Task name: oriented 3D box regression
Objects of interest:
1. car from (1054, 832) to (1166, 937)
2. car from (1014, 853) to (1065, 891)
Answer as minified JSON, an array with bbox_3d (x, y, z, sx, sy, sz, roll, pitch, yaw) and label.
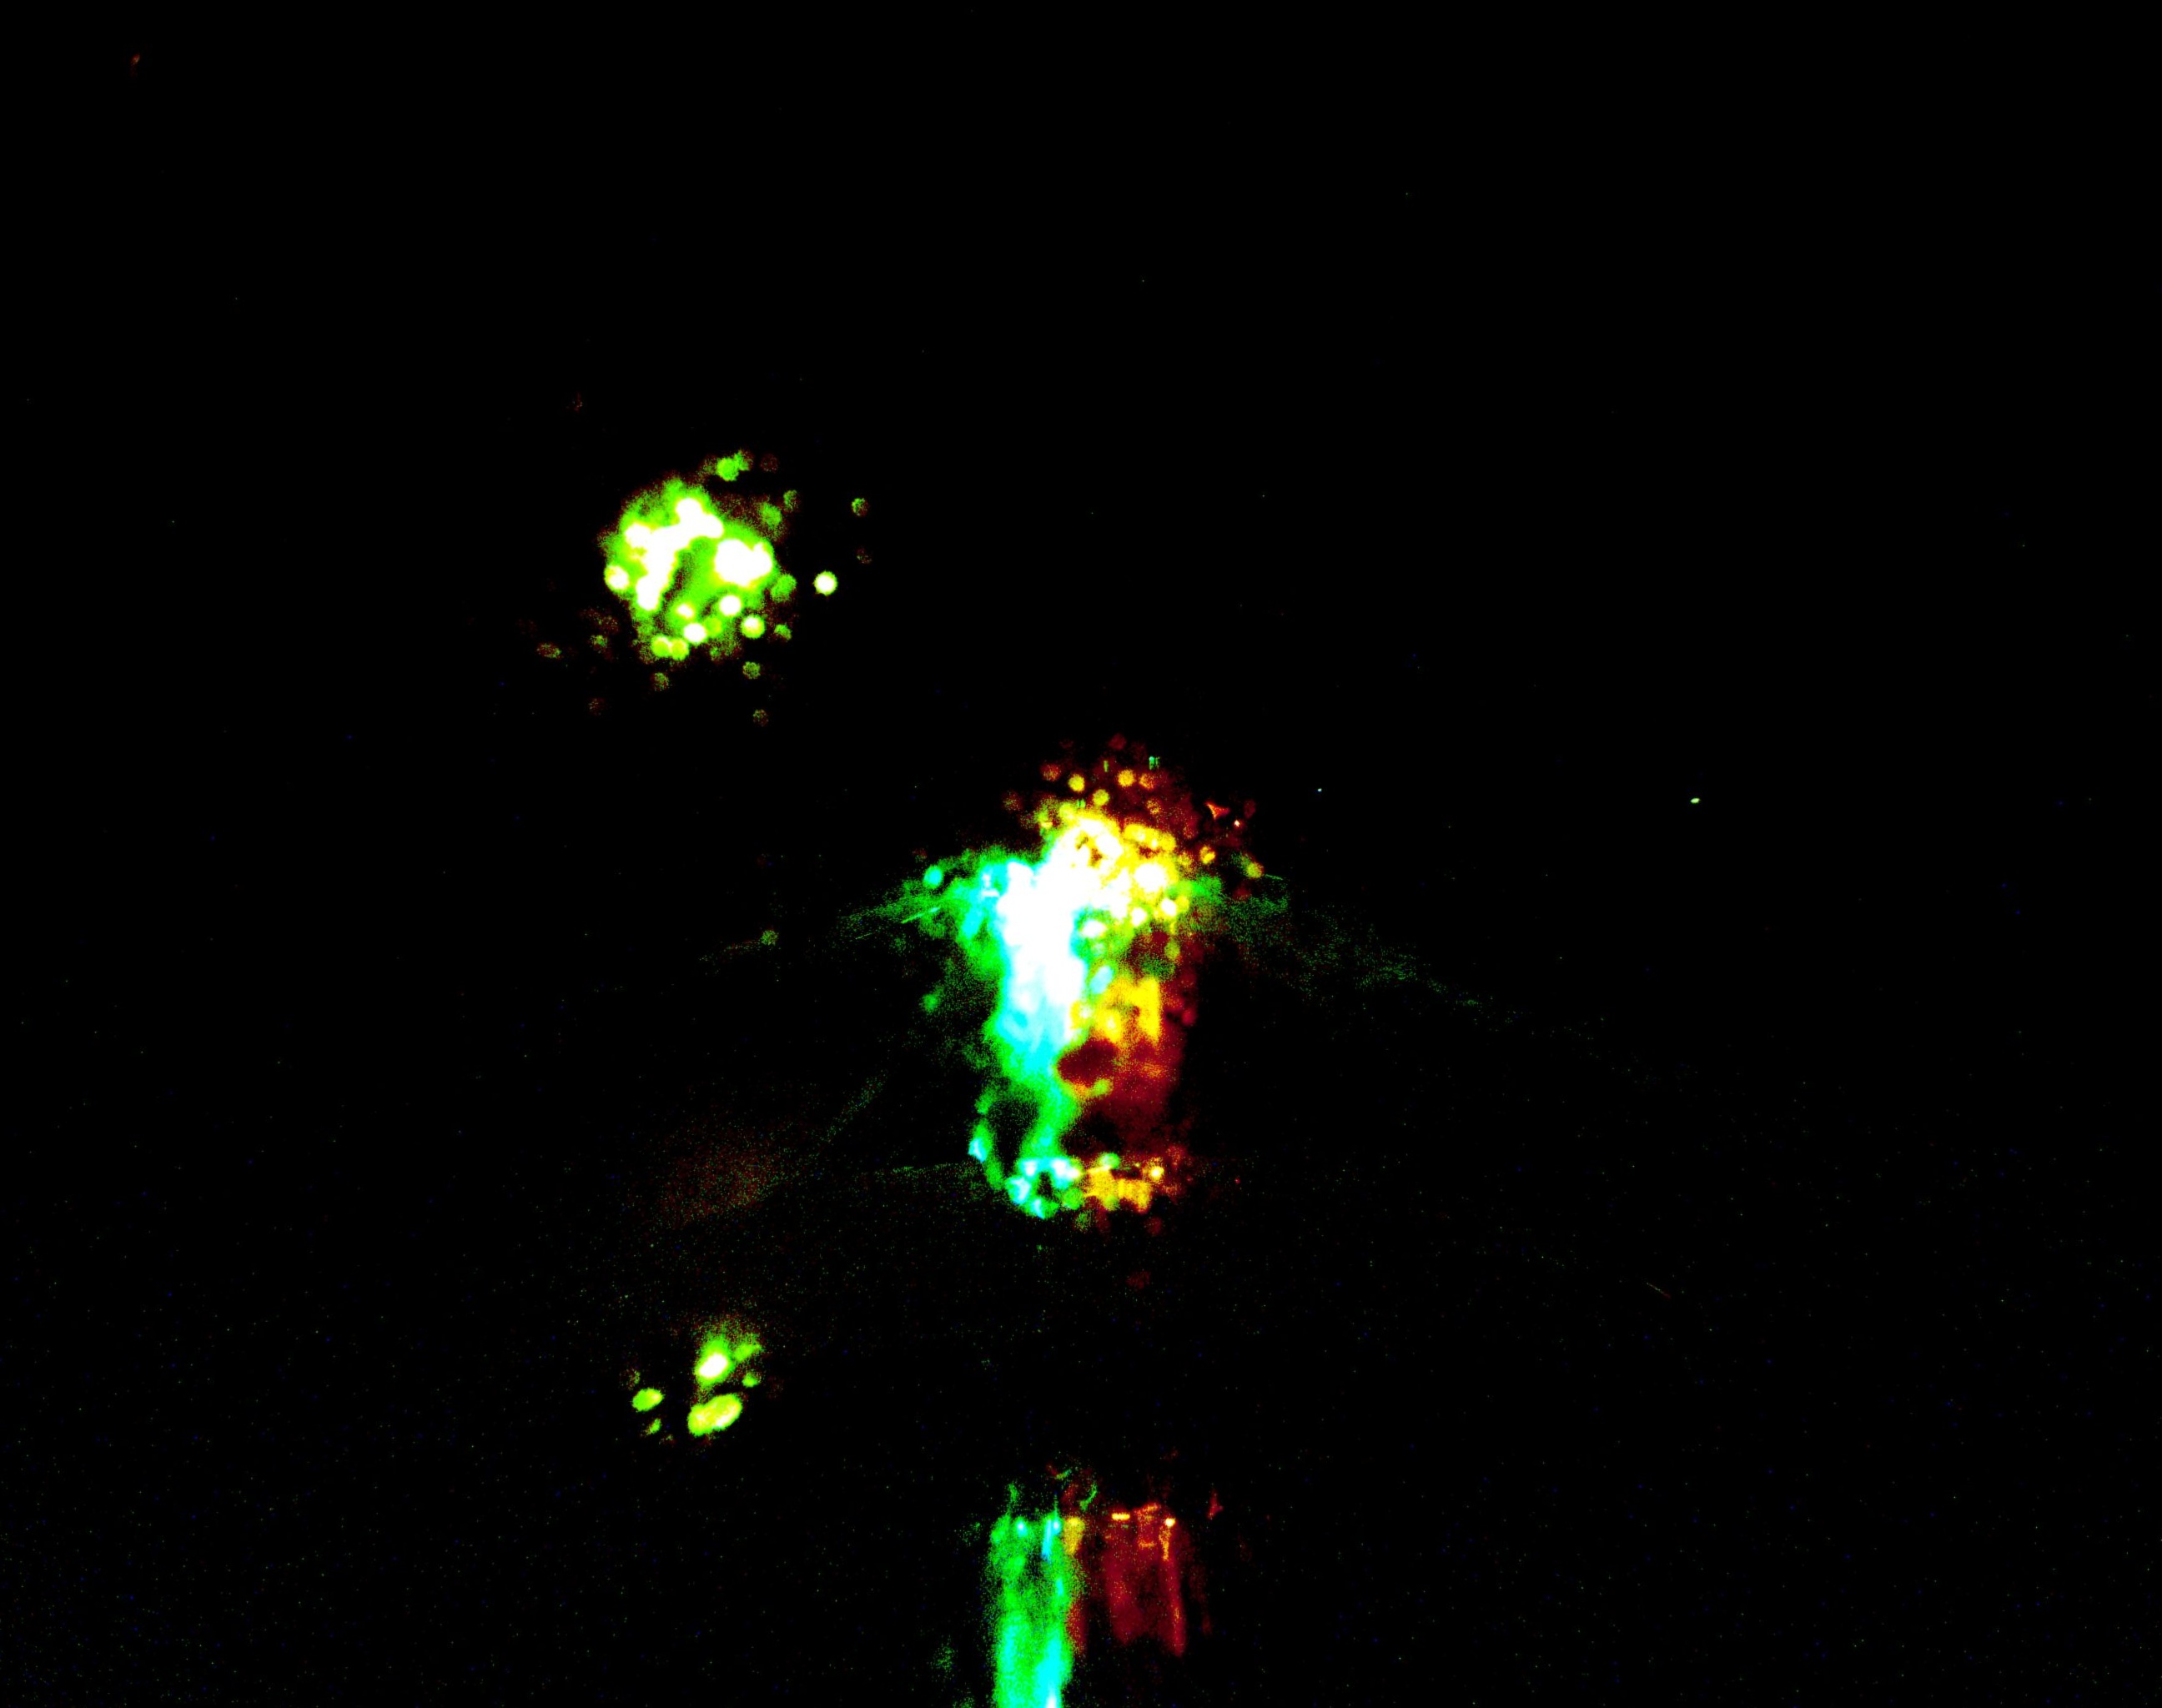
[{"bbox_3d":[0.598,0.473,15.388,1.783,1.681,3.908,-2,1,3],"label":"car"},{"bbox_3d":[-1.926,0.828,38.923,1.866,1.545,4.358,-6,-1,3],"label":"car"}]
